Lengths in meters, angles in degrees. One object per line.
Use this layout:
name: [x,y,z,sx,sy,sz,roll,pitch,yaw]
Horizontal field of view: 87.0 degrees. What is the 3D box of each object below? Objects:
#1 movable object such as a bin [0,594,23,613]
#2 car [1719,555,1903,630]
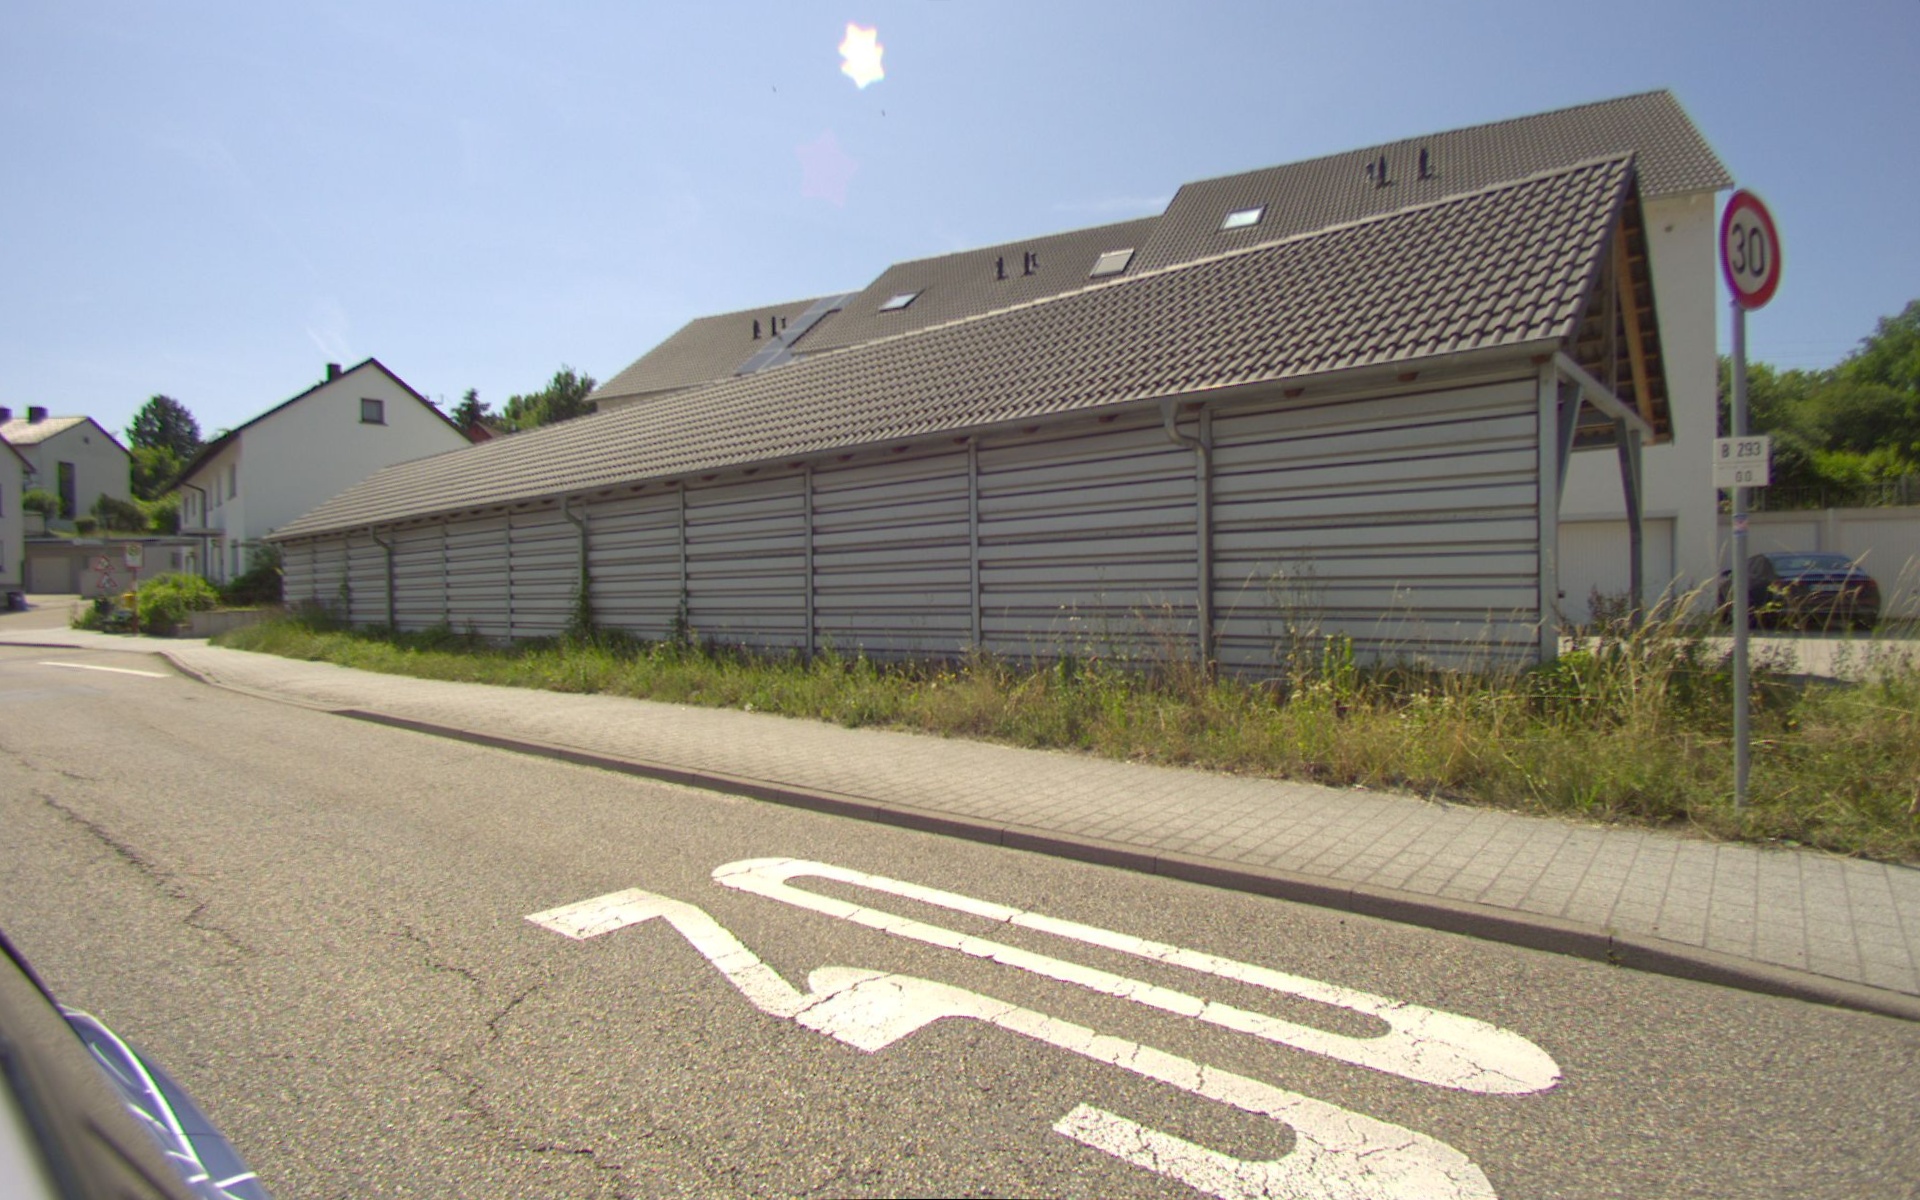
movable object such as a bin: [-45.905,0.161,48.942,0.591,0.941,0.601,-1,0,-6]
car: [16.372,-0.178,19.712,1.853,1.291,3.964,-1,1,27]
